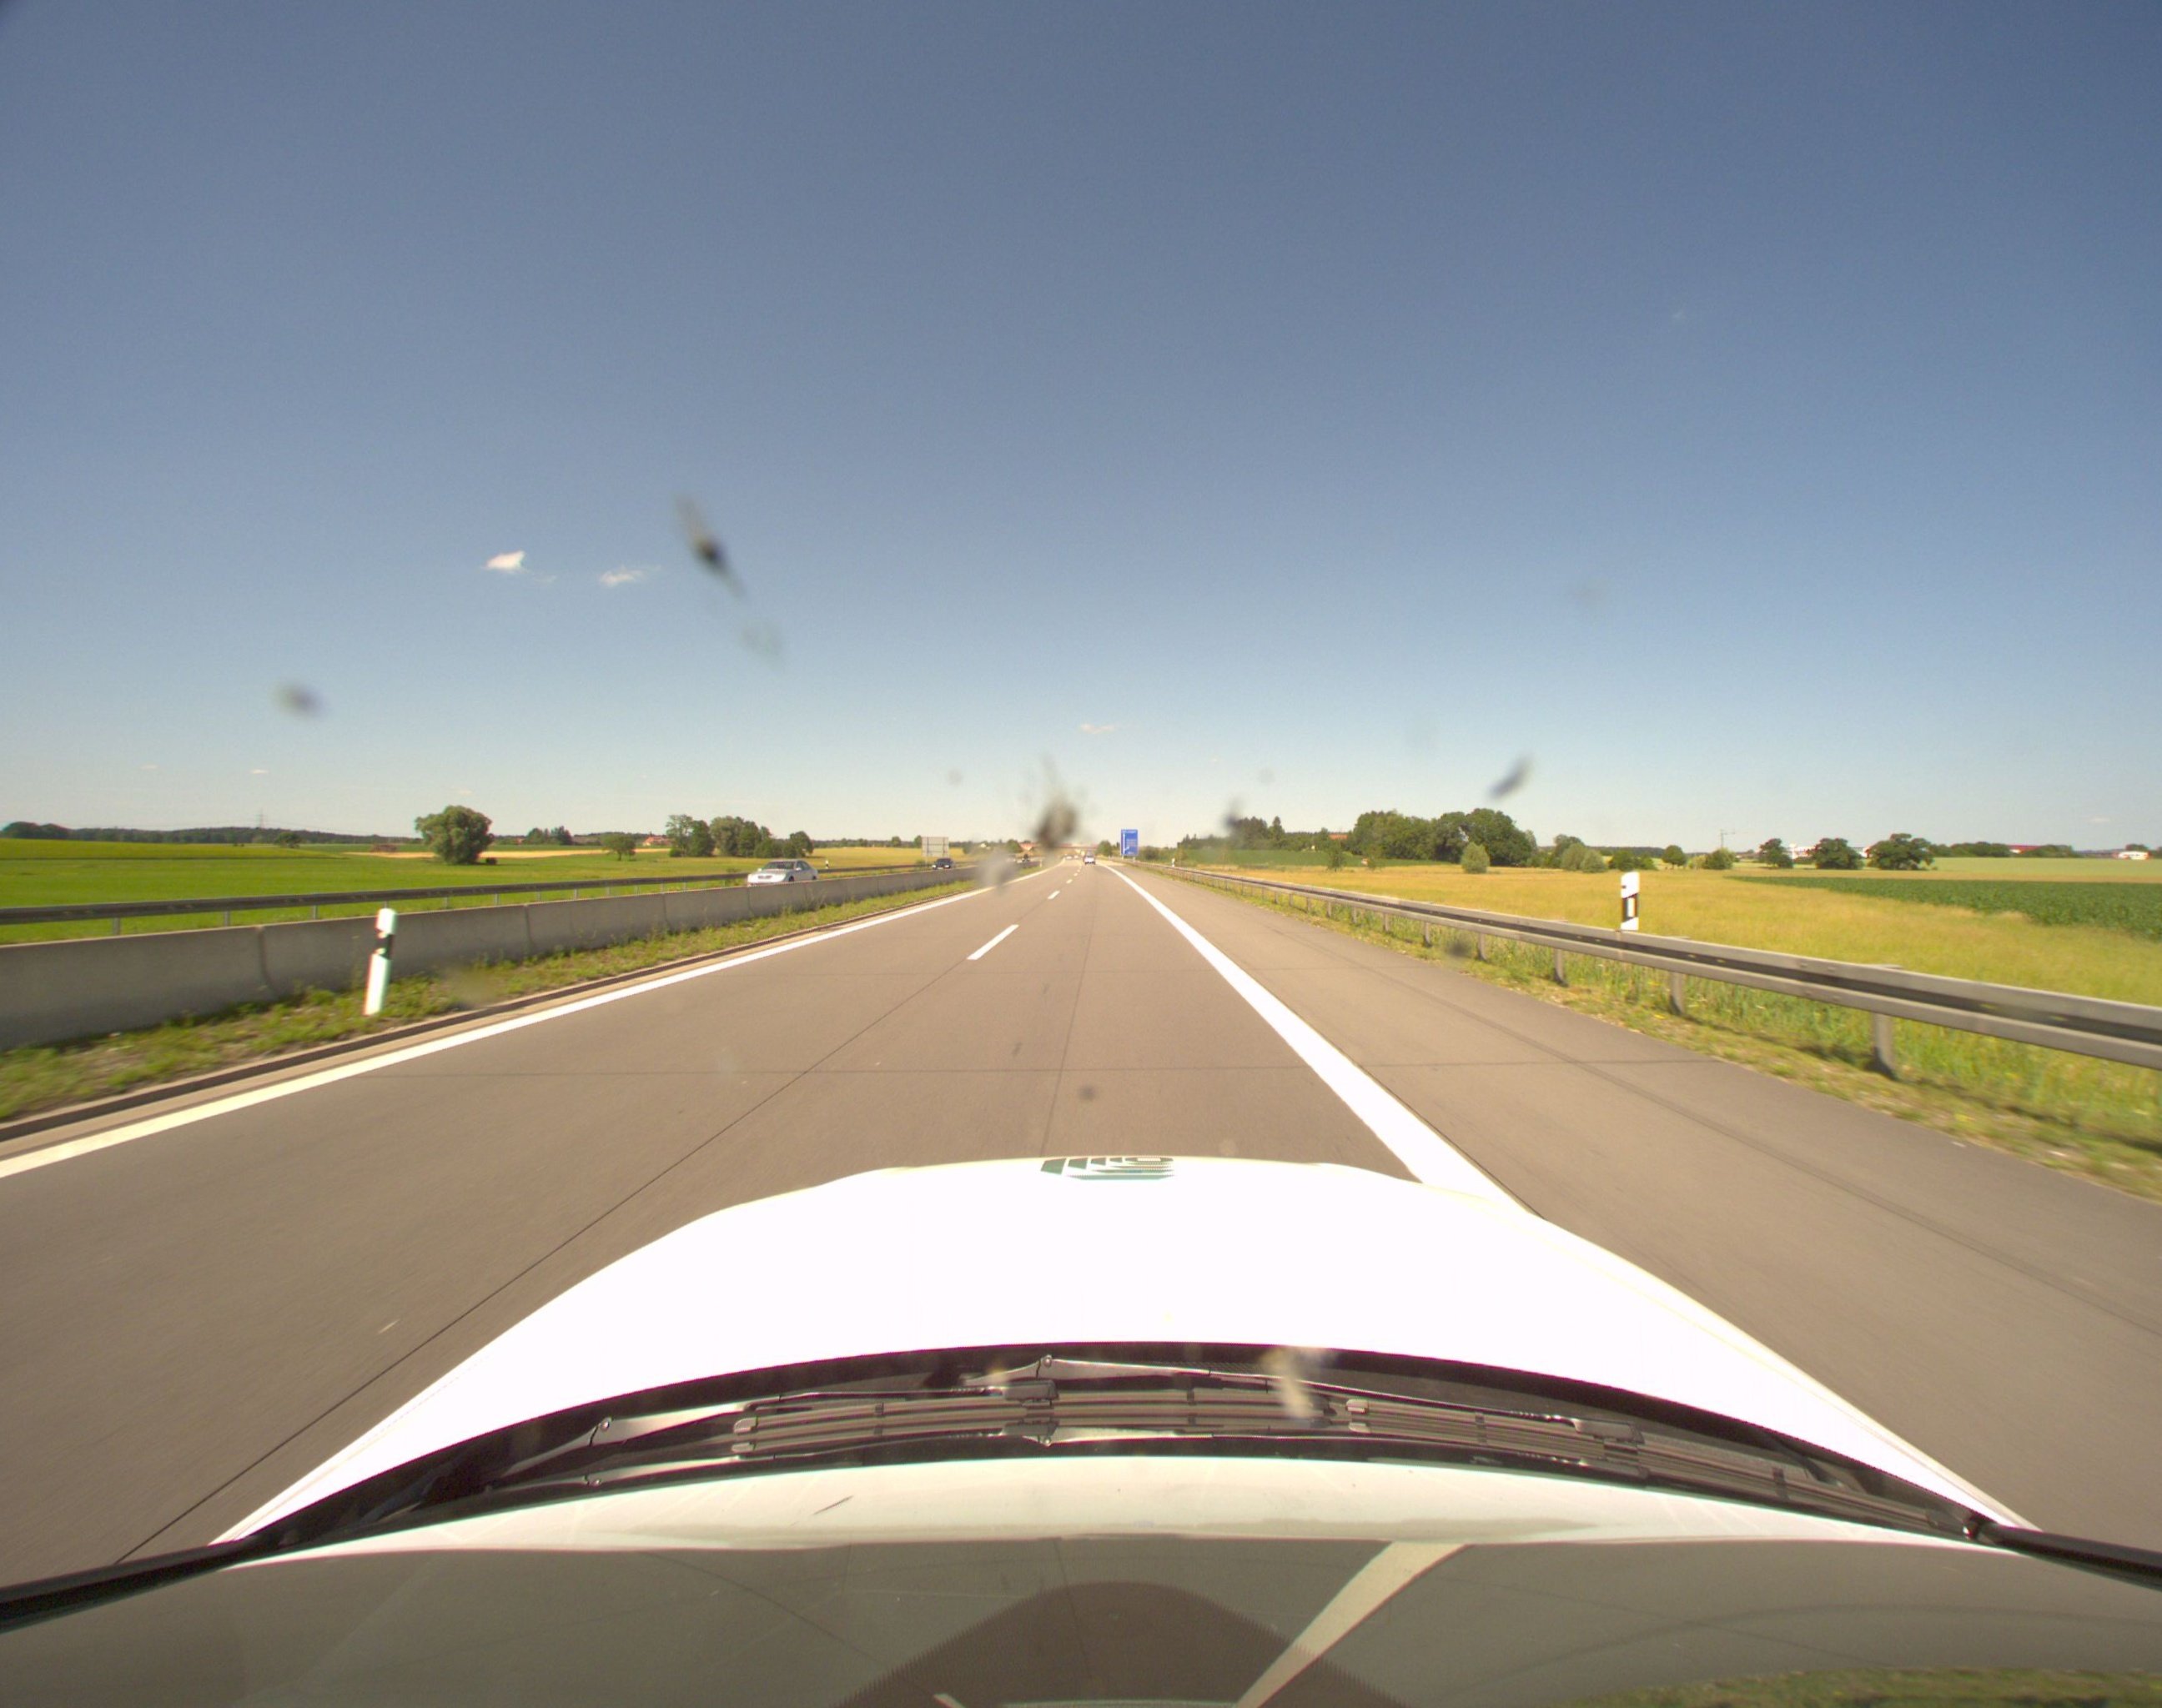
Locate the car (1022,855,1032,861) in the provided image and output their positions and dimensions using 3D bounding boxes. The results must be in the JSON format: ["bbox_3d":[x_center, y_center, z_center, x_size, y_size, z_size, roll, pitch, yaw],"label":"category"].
[{"bbox_3d":[-13.296,1.033,200.675,1.892,1.523,4.805,-1,0,0],"label":"car"}]

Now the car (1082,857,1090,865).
[{"bbox_3d":[1.236,1.596,192.440,1.987,1.731,4.869,0,0,0],"label":"car"}]

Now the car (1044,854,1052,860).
[{"bbox_3d":[-9.635,0.932,237.405,1.892,1.523,4.805,-1,0,0],"label":"car"}]

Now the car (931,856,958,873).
[{"bbox_3d":[-13.209,0.969,79.004,1.852,1.584,4.913,-1,0,0],"label":"car"}]

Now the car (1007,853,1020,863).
[{"bbox_3d":[-13.076,0.846,158.001,1.948,1.842,5.448,-1,0,0],"label":"car"}]

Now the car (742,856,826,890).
[{"bbox_3d":[-13.418,0.804,37.164,1.816,1.365,5.296,-1,0,1],"label":"car"}]

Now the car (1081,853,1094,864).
[{"bbox_3d":[1.123,0.770,141.944,1.988,1.731,4.865,0,0,-2],"label":"car"}]
